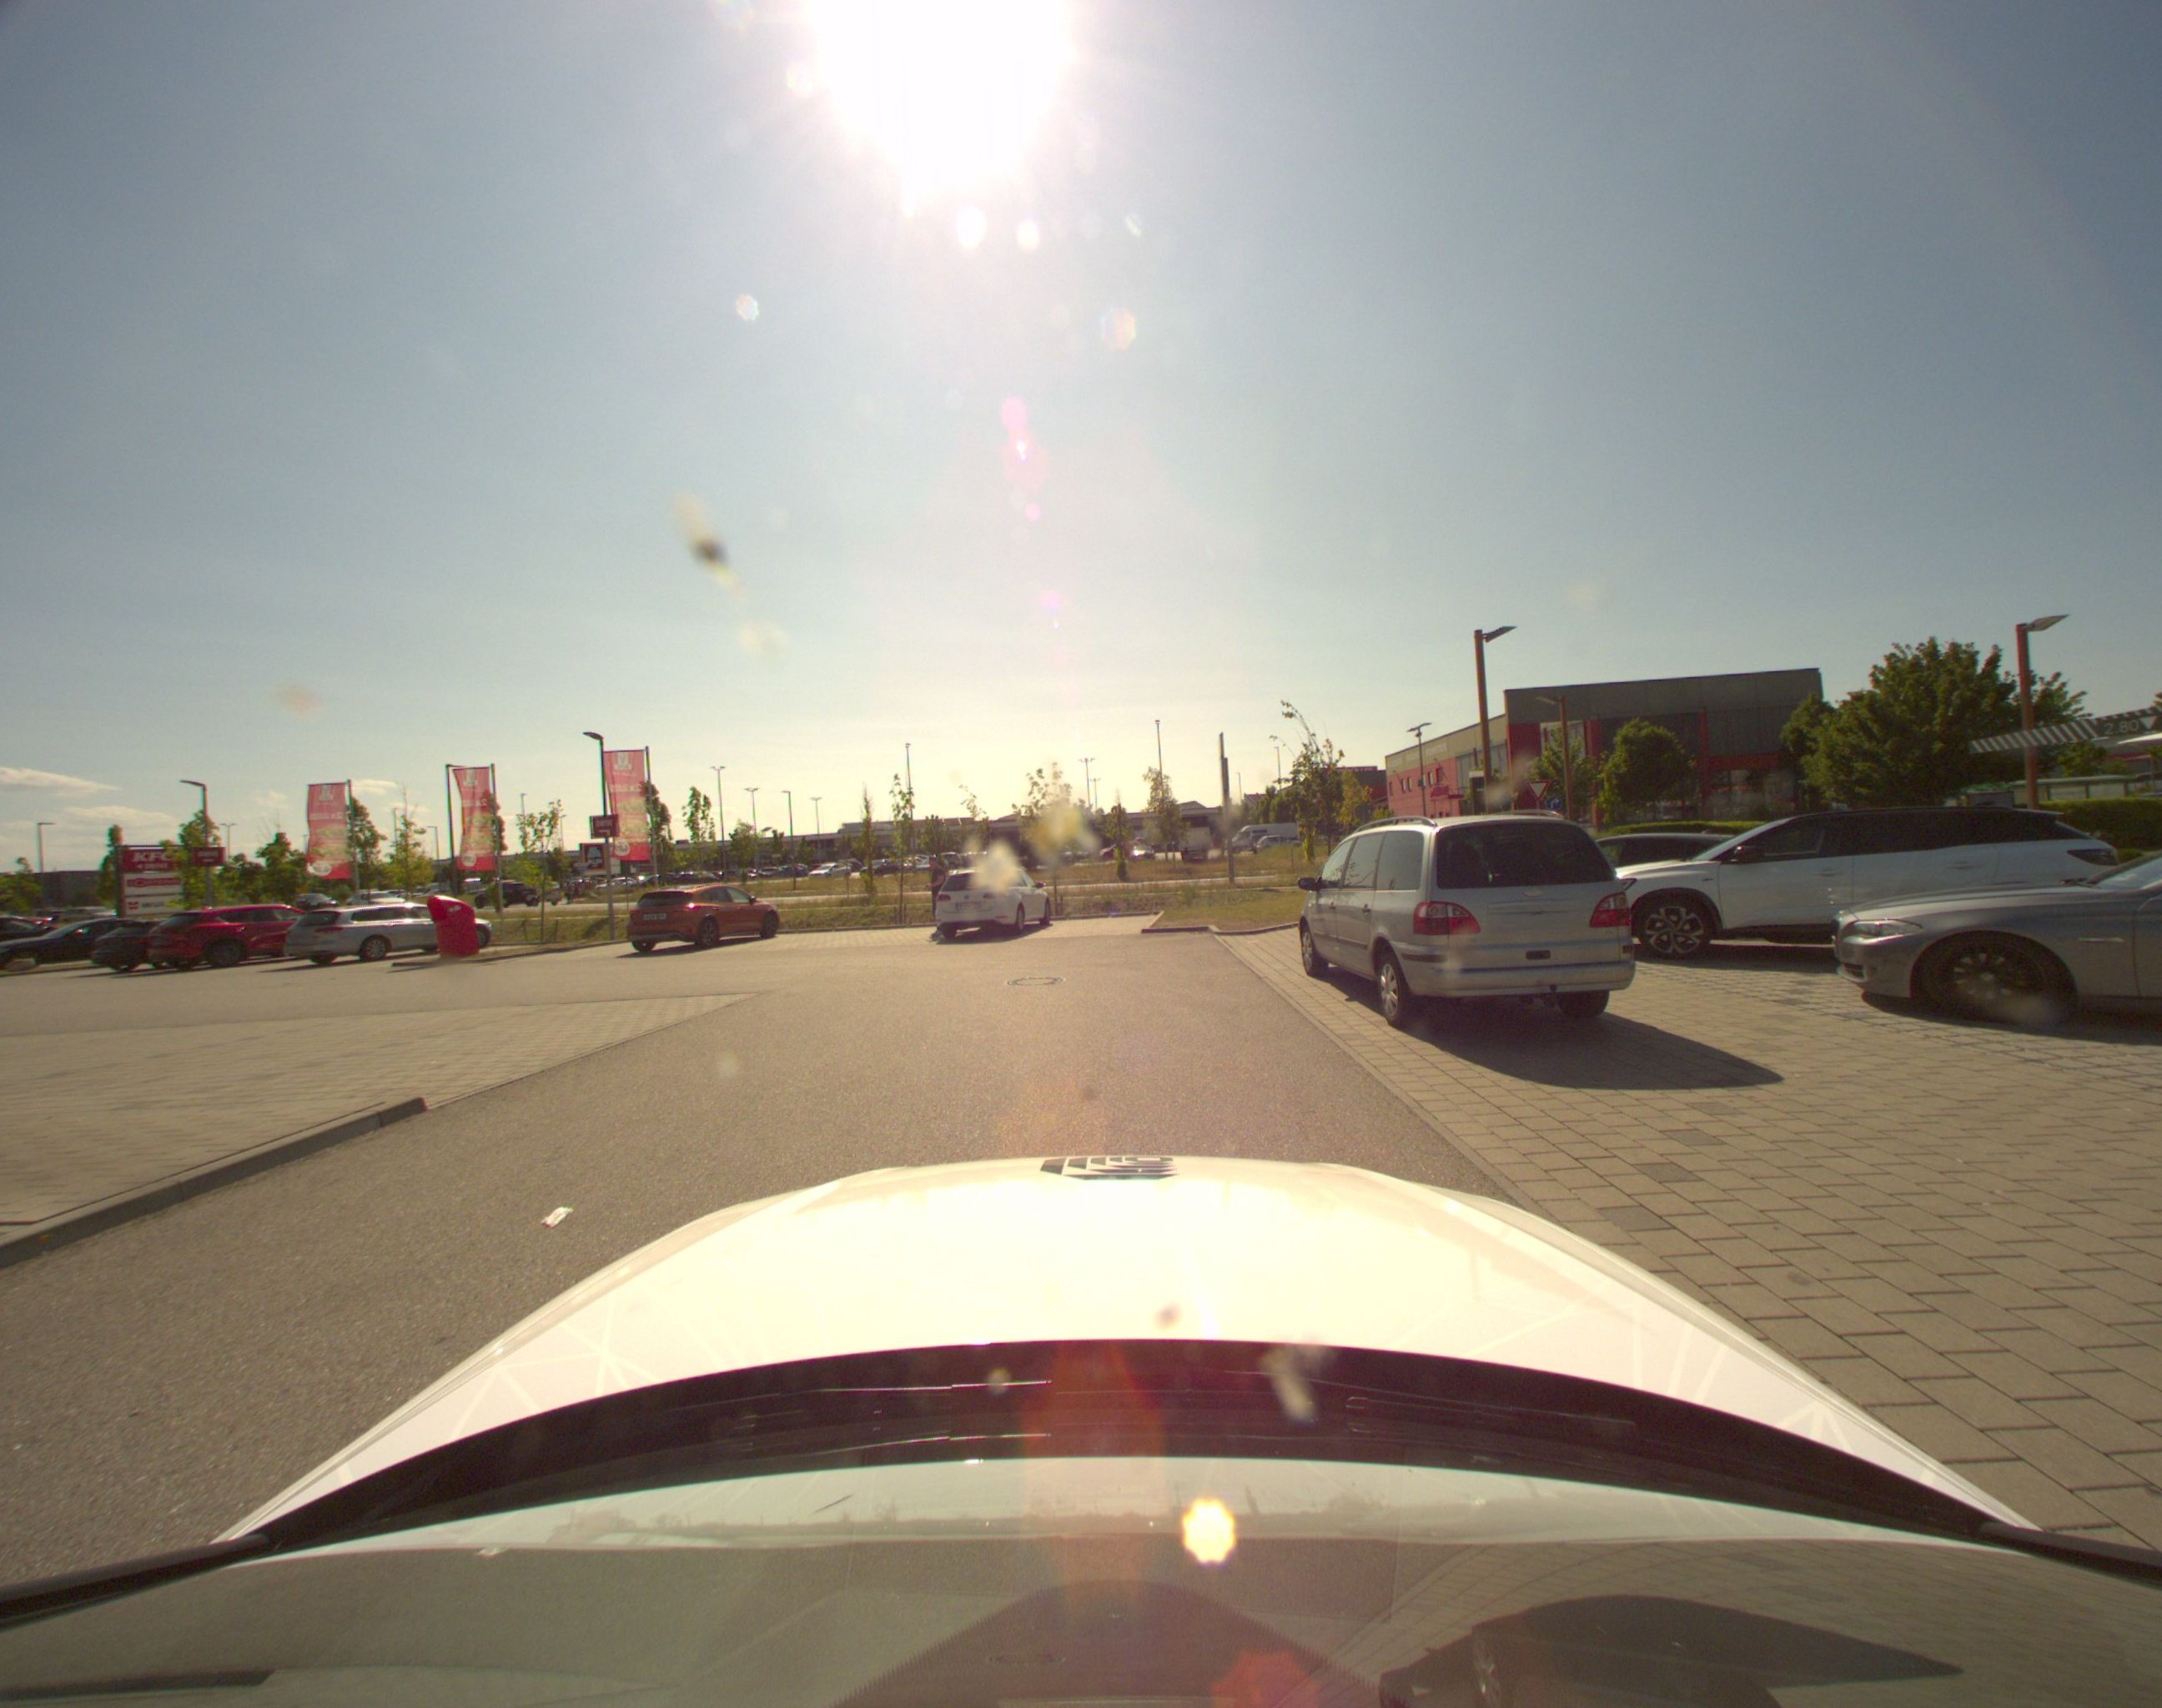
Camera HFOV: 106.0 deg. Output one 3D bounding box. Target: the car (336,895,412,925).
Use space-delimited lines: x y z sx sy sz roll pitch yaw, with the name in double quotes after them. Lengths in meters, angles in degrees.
-50.080 3.961 57.712 4.357 1.845 2.010 -3 0 18 "car"

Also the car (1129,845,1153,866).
4.740 0.099 64.272 1.641 1.459 3.974 -3 0 7 "car"

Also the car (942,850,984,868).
-13.462 0.518 93.354 4.374 1.855 1.956 -3 0 1 "car"

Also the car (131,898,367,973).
-23.404 2.237 23.164 1.930 1.638 4.248 -3 -1 14 "car"

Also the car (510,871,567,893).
-58.480 2.978 87.894 1.980 2.013 5.197 -3 0 12 "car"

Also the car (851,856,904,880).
-17.370 1.188 69.689 1.931 1.855 4.431 -3 0 25 "car"

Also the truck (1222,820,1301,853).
17.172 -1.674 77.666 7.009 2.814 1.956 -3 0 1 "truck"

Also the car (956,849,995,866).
-12.876 0.471 99.313 4.374 1.855 1.956 -3 0 1 "car"

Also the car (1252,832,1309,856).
17.090 -0.854 69.737 4.374 1.855 1.956 -3 0 1 "car"

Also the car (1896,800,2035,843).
46.685 -1.683 43.095 4.852 1.954 1.883 -3 -1 7 "car"

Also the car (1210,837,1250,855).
17.730 -0.971 97.157 4.374 1.855 1.956 -3 0 1 "car"

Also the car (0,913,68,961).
-40.083 3.093 29.311 1.875 1.609 4.100 -3 -1 17 "car"

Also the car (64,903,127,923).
-85.340 5.122 70.499 4.602 1.504 2.010 -3 0 20 "car"

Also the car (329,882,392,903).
-81.030 4.305 91.660 1.980 2.013 5.093 -3 0 12 "car"

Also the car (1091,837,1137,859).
3.137 -0.592 77.250 4.237 1.855 1.871 -3 0 1 "car"

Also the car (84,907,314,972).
-25.704 2.446 23.978 1.756 1.410 4.221 -3 -1 12 "car"

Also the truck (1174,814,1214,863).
8.786 -1.196 63.415 2.744 3.480 6.847 -3 0 7 "truck"

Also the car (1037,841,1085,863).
-2.111 -0.215 85.615 4.904 2.013 2.080 -3 0 -3 "car"

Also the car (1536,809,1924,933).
9.309 0.248 12.068 4.152 1.526 1.988 -3 0 39 "car"

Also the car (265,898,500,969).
-18.694 2.076 22.133 1.722 1.413 4.619 -3 -1 14 "car"

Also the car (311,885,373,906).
-85.479 4.741 94.285 1.980 2.013 5.093 -3 0 12 "car"

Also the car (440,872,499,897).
-67.938 3.345 90.633 1.980 2.455 5.093 -3 0 12 "car"

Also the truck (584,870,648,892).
-47.232 2.697 82.855 1.976 1.863 5.462 -3 0 22 "truck"

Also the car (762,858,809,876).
-33.256 1.460 91.742 4.541 1.855 1.956 -3 0 1 "car"

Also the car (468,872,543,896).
-63.512 3.313 90.089 2.787 2.237 6.338 -3 0 15 "car"

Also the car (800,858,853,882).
-22.230 1.394 71.335 1.975 1.855 4.311 -3 0 25 "car"

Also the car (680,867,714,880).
-49.943 2.560 105.962 3.457 1.552 1.665 -3 0 -4 "car"

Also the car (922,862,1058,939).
-1.929 0.966 18.743 1.816 1.469 4.494 -3 -1 10 "car"

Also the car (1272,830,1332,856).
18.106 -0.894 66.992 4.374 1.855 1.956 -3 0 1 "car"

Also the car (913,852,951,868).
-18.689 0.737 102.379 4.377 1.855 1.955 -3 0 -1 "car"

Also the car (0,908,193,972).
-32.732 2.770 26.699 1.873 1.638 4.474 -3 -1 21 "car"

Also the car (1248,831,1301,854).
17.722 -1.044 74.827 4.374 1.855 1.956 -3 0 1 "car"

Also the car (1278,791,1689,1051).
3.427 0.477 8.141 1.820 1.748 4.685 -3 0 2 "car"

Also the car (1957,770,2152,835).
38.127 -1.991 32.002 5.069 2.197 2.001 -3 0 2 "car"

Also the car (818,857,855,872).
-33.699 1.415 112.382 4.374 1.855 1.956 -3 0 1 "car"

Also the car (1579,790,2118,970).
8.335 0.283 9.469 4.152 1.654 1.988 -3 0 35 "car"

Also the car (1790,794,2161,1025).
8.221 0.315 5.734 4.784 1.526 1.988 -3 0 42 "car"

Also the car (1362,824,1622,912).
8.260 0.287 16.639 1.987 1.526 4.279 -4 1 -44 "car"

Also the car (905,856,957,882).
-12.443 1.230 67.784 1.931 1.855 4.431 -3 0 25 "car"

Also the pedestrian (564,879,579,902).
-36.735 2.631 58.694 0.658 1.556 0.630 -3 0 28 "pedestrian"

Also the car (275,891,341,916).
-58.921 3.801 62.076 4.548 1.664 1.889 -3 0 22 "car"

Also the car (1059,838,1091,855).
-0.774 -1.040 107.138 3.968 2.013 2.003 -3 0 4 "car"

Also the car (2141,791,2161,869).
25.680 -0.635 17.175 4.212 1.691 1.995 -3 1 -3 "car"

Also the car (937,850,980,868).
-13.641 0.533 91.006 4.374 1.855 1.956 -3 0 1 "car"

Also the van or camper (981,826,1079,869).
-4.199 -0.504 65.558 7.950 3.101 2.435 -3 0 35 "van or camper"

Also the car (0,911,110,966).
-37.249 2.991 28.126 1.876 1.703 4.349 -3 -1 14 "car"

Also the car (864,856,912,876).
-19.841 1.215 83.761 4.374 1.855 1.956 -3 0 1 "car"

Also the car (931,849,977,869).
-13.374 0.536 86.093 4.374 1.855 1.956 -3 0 1 "car"

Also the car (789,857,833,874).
-33.076 1.426 99.803 4.541 1.855 1.956 -3 0 1 "car"

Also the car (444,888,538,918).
-41.005 3.409 56.684 5.181 1.731 1.992 -3 0 5 "car"

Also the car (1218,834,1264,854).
16.565 -1.020 84.681 4.374 1.855 1.956 -3 0 1 "car"

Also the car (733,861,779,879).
-40.979 1.984 102.872 4.904 2.013 2.080 -3 0 -3 "car"

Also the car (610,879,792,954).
-9.147 1.451 20.075 1.816 1.469 4.366 -3 -1 10 "car"

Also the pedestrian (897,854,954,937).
-3.547 0.934 18.582 0.999 1.809 0.718 -2 -2 -36 "pedestrian"

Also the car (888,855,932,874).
-19.247 1.153 91.918 4.374 1.855 1.956 -3 0 1 "car"
